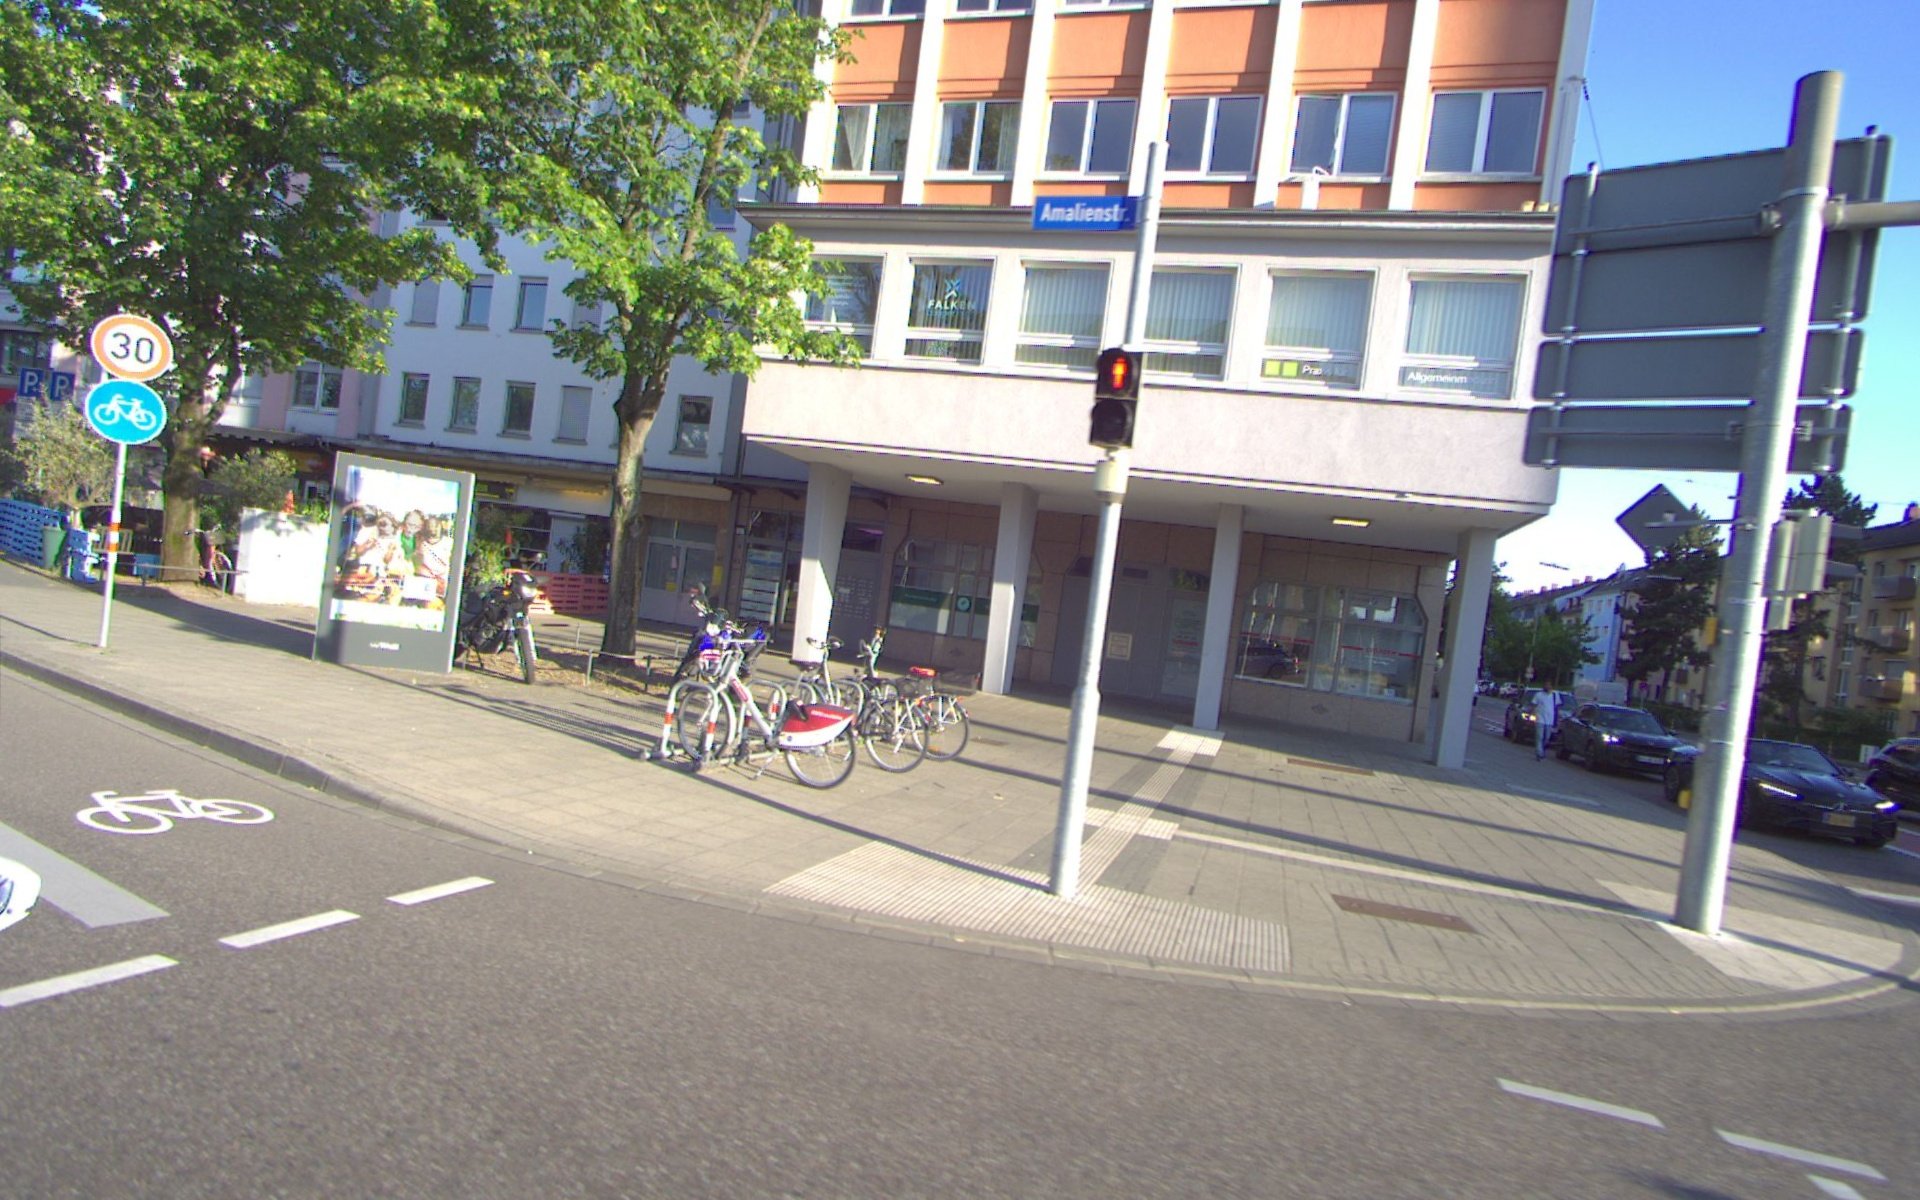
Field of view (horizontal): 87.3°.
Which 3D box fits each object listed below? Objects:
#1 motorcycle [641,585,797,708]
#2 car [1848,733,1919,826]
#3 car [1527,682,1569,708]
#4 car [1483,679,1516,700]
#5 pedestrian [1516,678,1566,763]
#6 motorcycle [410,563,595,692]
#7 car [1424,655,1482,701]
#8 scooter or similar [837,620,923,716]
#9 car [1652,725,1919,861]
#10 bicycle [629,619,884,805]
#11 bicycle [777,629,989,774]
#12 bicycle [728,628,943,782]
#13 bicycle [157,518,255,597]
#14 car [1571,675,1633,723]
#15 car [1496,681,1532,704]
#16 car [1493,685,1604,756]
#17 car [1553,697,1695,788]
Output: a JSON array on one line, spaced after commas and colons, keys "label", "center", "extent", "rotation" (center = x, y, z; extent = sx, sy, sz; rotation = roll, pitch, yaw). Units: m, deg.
[{"label": "motorcycle", "center": [-3.133, 0.633, 13.315], "extent": [0.747, 1.423, 2.049], "rotation": [8, 0, 25]}, {"label": "car", "center": [18.995, 3.586, 18.994], "extent": [1.567, 1.590, 4.087], "rotation": [8, 0, 16]}, {"label": "car", "center": [47.530, 7.662, 81.434], "extent": [1.840, 1.615, 3.848], "rotation": [8, 0, 15]}, {"label": "car", "center": [52.700, 8.706, 98.411], "extent": [1.840, 1.615, 3.848], "rotation": [8, 0, 15]}, {"label": "pedestrian", "center": [13.004, 2.687, 22.548], "extent": [0.628, 1.778, 0.819], "rotation": [8, 1, 20]}, {"label": "motorcycle", "center": [-5.578, 0.319, 12.234], "extent": [2.161, 1.257, 0.668], "rotation": [8, 0, 24]}, {"label": "car", "center": [32.363, 5.031, 66.230], "extent": [2.085, 2.554, 6.433], "rotation": [8, 0, 17]}, {"label": "scooter or similar", "center": [-1.208, 1.017, 15.132], "extent": [1.165, 1.269, 0.415], "rotation": [8, 1, 37]}, {"label": "car", "center": [13.485, 3.062, 16.837], "extent": [1.805, 1.357, 4.678], "rotation": [8, -1, 19]}, {"label": "bicycle", "center": [-1.660, 0.871, 8.207], "extent": [1.839, 1.140, 0.647], "rotation": [9, 1, 19]}, {"label": "bicycle", "center": [-0.841, 1.064, 10.924], "extent": [2.084, 1.172, 0.647], "rotation": [9, 1, 19]}, {"label": "bicycle", "center": [-1.211, 0.986, 9.778], "extent": [1.839, 1.140, 0.647], "rotation": [9, 1, 19]}, {"label": "bicycle", "center": [-13.550, -0.772, 18.064], "extent": [1.722, 1.172, 0.421], "rotation": [9, 1, 19]}, {"label": "car", "center": [44.473, 6.811, 69.796], "extent": [2.051, 2.754, 4.549], "rotation": [8, 0, 16]}, {"label": "car", "center": [50.892, 8.459, 92.451], "extent": [1.840, 1.615, 3.848], "rotation": [8, 0, 15]}, {"label": "car", "center": [17.519, 3.540, 30.177], "extent": [1.963, 1.593, 4.001], "rotation": [8, 0, 20]}, {"label": "car", "center": [15.363, 3.246, 23.500], "extent": [1.723, 1.528, 3.775], "rotation": [8, 0, 19]}]
